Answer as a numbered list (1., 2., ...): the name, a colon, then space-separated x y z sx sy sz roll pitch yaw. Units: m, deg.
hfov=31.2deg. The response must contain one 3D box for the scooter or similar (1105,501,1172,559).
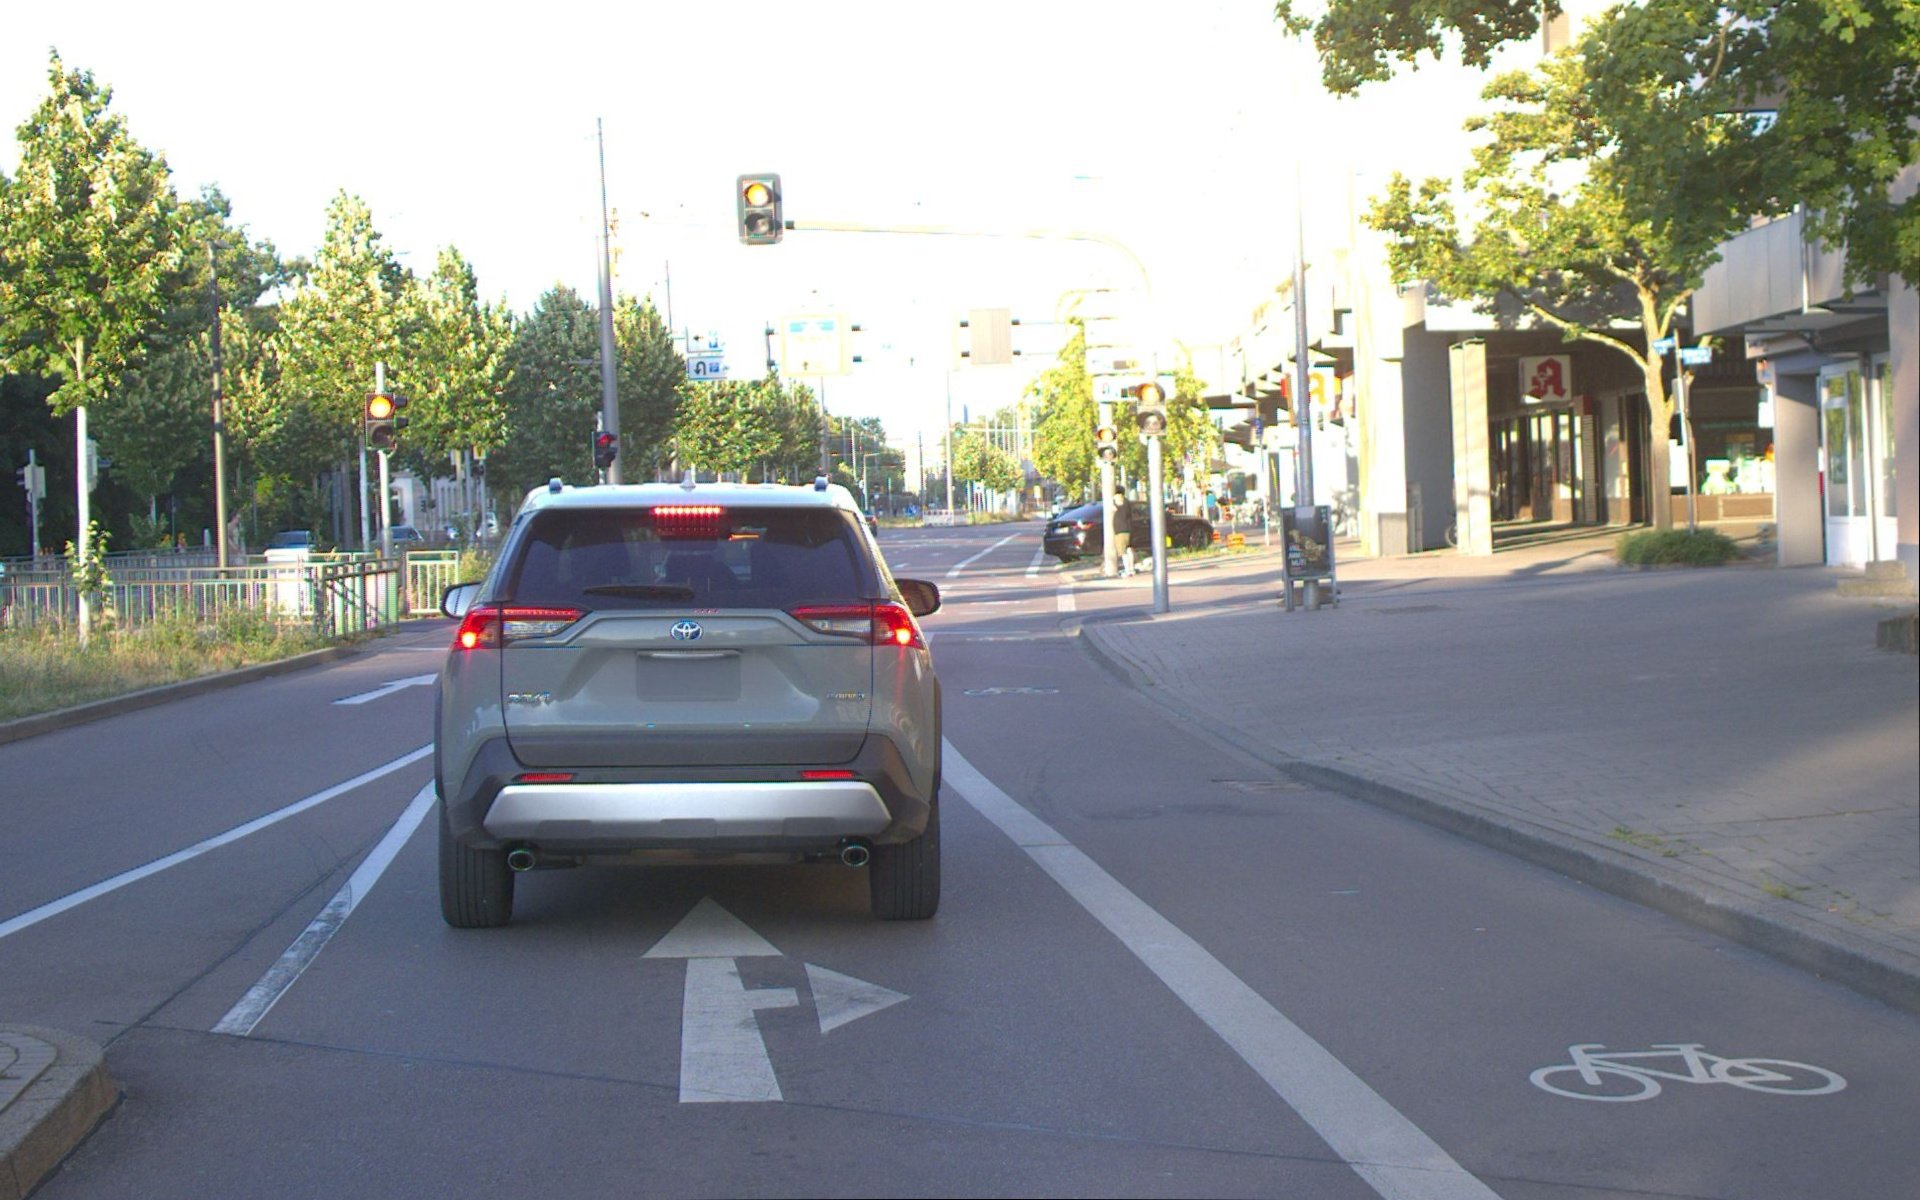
1. scooter or similar: 3.687 -1.448 71.164 1.329 1.149 0.513 -2 2 2

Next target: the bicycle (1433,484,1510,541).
1. bicycle: 10.515 -1.795 70.712 0.688 1.145 2.023 1 1 -19

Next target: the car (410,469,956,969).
1. car: -1.078 0.327 13.986 1.854 1.653 4.269 -1 3 -3

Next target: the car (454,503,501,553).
1. car: -22.336 -3.370 159.280 1.993 2.160 4.752 -1 3 -6

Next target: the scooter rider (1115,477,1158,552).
1. scooter rider: 3.648 -1.776 71.162 0.820 1.509 0.653 -2 2 2

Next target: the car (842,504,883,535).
1. car: -4.981 -4.157 176.253 1.979 1.428 4.843 -1 3 0

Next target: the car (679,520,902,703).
1. car: -1.676 0.046 32.636 1.932 1.476 4.524 -1 3 -5

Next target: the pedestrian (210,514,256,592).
1. pedestrian: -16.302 -1.059 77.094 0.835 1.706 0.648 -2 2 -1

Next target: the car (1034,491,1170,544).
1. car: 4.726 -2.756 114.497 4.255 1.653 1.860 -3 3 -35

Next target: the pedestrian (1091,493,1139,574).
1. pedestrian: 3.106 -1.330 68.903 0.835 1.581 0.812 -2 2 -2

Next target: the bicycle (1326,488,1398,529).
1. bicycle: 11.483 -2.612 98.334 2.017 1.145 0.690 1 1 6

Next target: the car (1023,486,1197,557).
1. car: 3.768 -1.983 85.883 4.257 1.653 1.860 -3 4 -42
